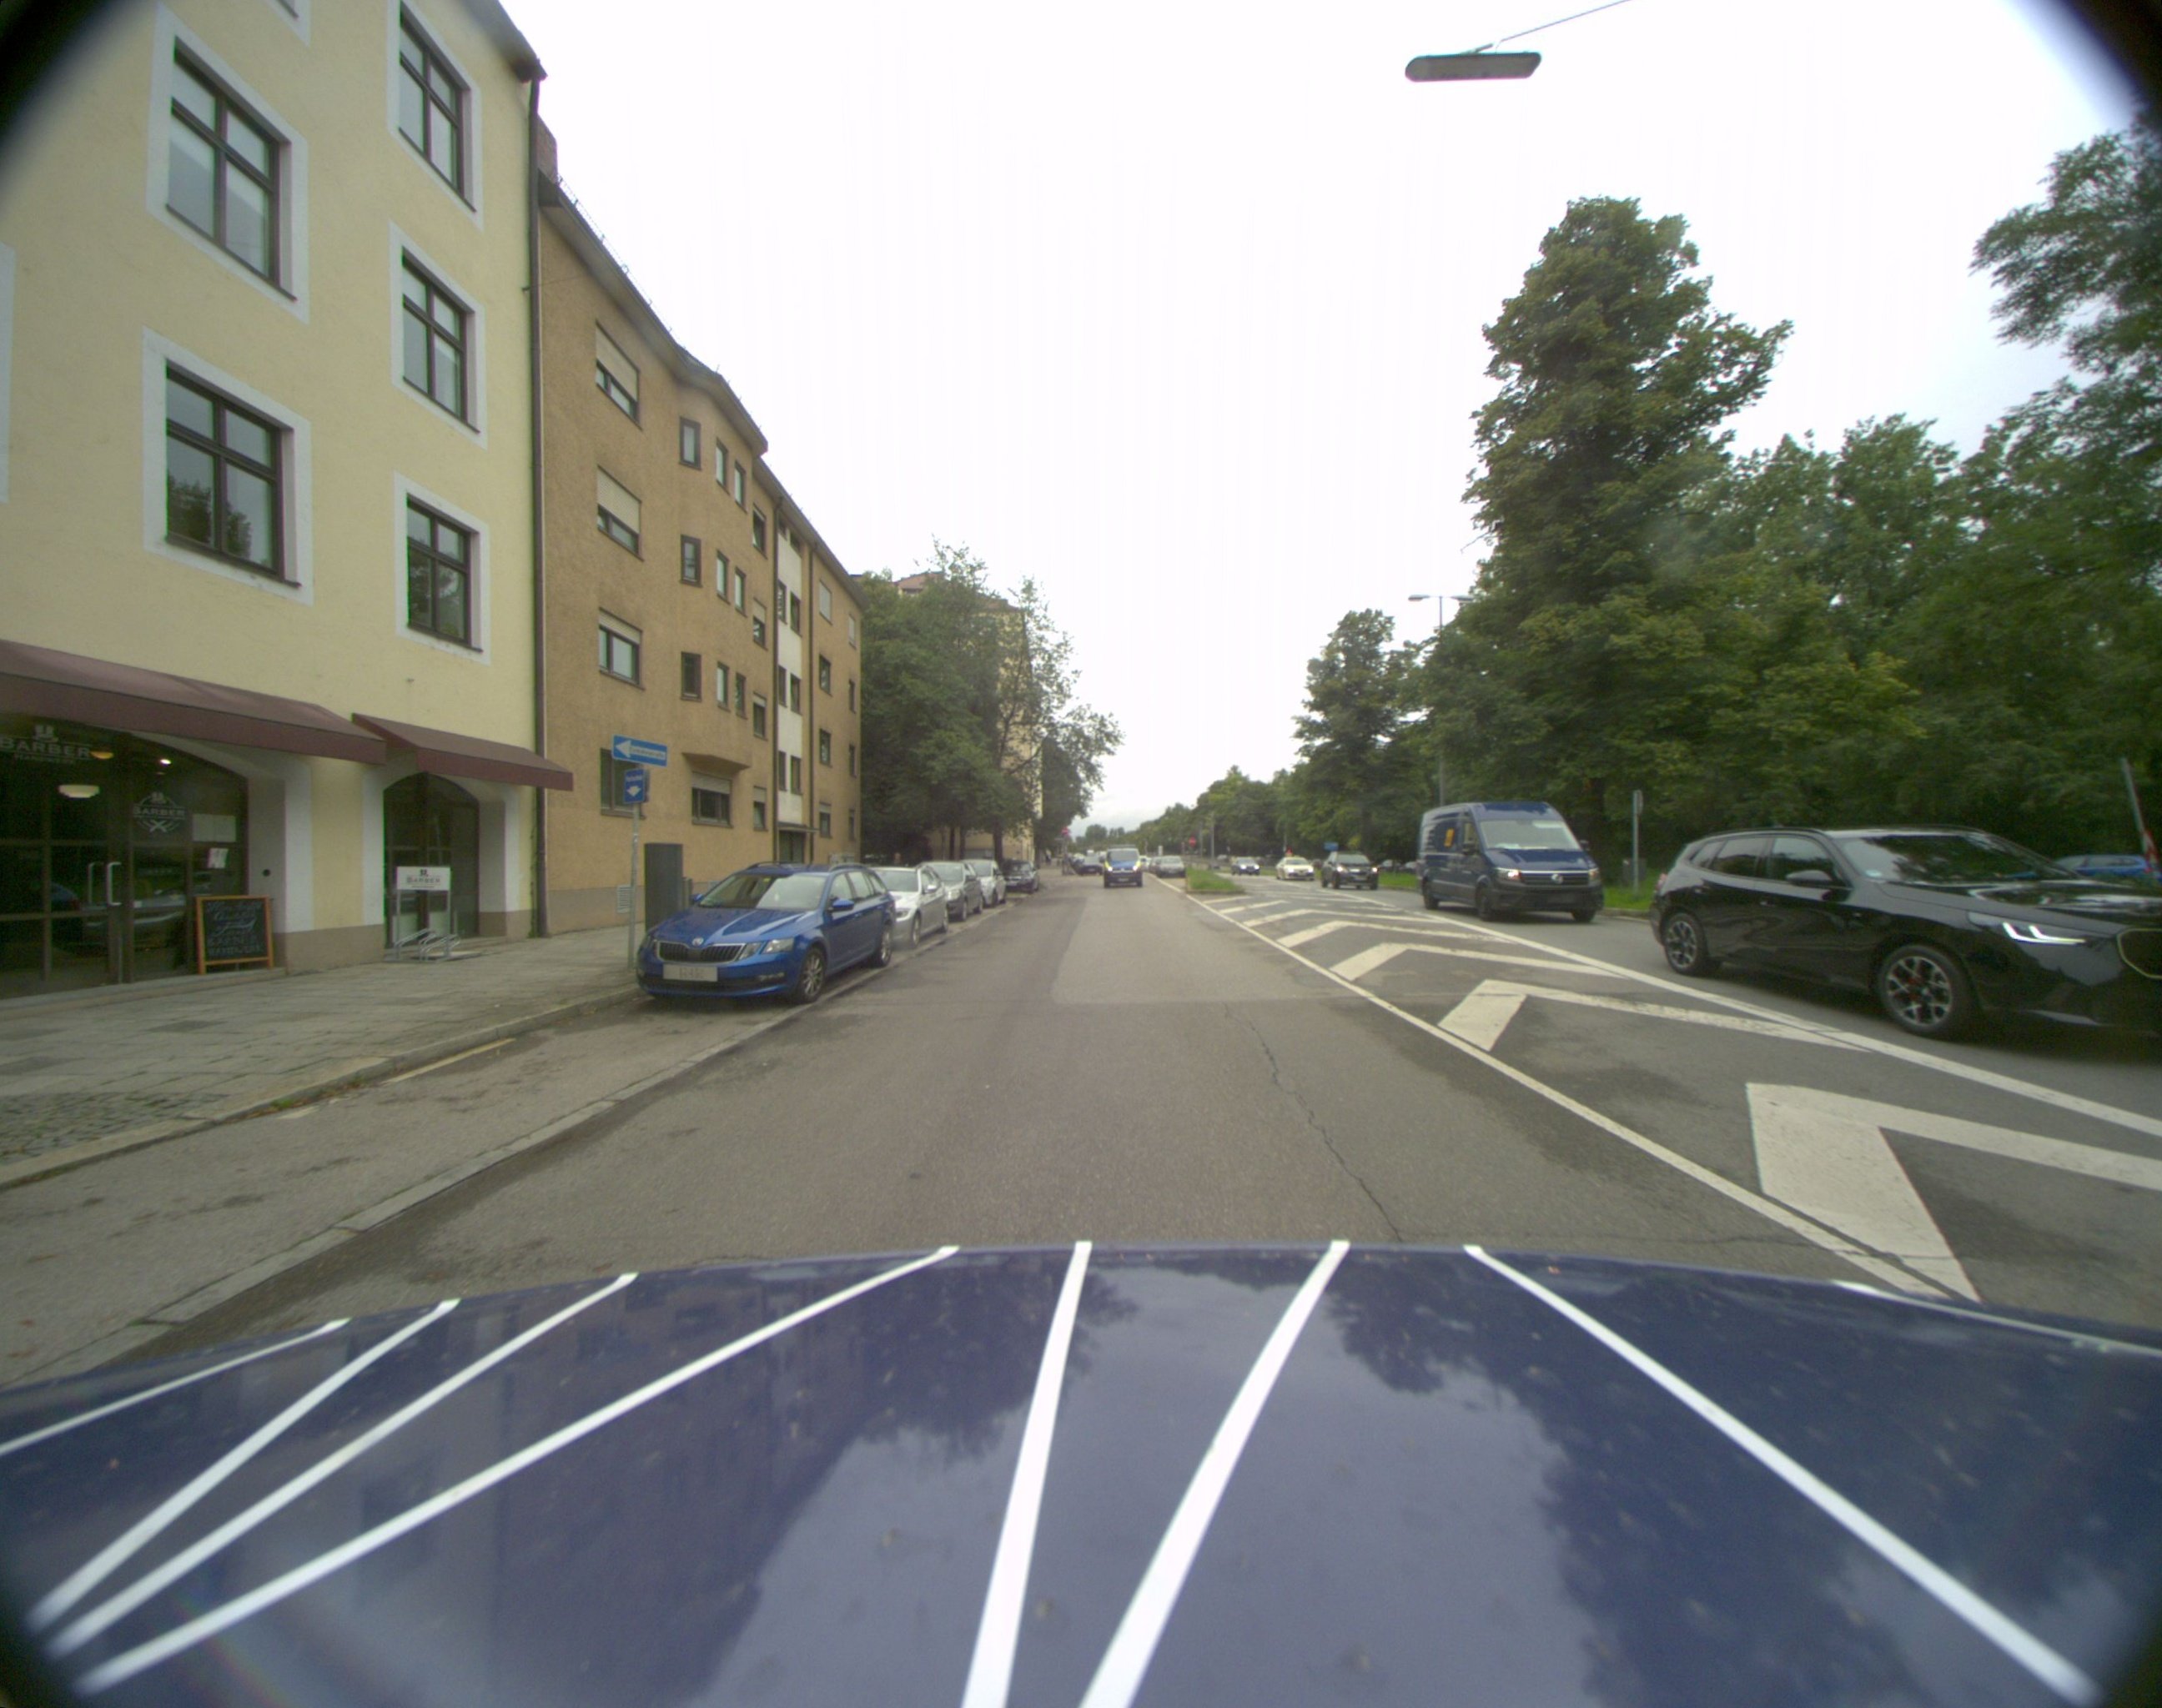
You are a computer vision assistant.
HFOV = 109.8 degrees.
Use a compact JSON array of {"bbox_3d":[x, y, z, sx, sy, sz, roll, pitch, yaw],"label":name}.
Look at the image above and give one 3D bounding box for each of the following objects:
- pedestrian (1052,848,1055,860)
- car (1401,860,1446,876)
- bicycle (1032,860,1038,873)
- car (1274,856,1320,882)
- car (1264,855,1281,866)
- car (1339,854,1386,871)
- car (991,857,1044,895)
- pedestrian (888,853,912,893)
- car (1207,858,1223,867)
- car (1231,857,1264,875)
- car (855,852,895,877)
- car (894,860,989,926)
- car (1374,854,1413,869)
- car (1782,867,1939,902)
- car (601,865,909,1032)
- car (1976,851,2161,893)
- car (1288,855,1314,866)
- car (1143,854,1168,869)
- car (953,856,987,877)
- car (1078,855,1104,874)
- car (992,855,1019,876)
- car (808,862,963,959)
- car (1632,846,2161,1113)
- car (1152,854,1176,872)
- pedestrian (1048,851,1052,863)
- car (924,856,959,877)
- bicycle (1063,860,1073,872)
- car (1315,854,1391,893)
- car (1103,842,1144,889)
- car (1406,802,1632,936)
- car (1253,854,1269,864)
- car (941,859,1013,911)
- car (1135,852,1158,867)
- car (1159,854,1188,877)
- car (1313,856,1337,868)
[{"bbox_3d":[-4.445,0.030,123.246,0.458,2.002,0.617,0,0,-17],"label":"pedestrian"},{"bbox_3d":[32.844,1.302,72.972,1.999,1.438,4.524,1,0,-3],"label":"car"},{"bbox_3d":[-4.261,1.160,71.004,0.401,1.164,1.318,0,0,-10],"label":"bicycle"},{"bbox_3d":[13.591,0.885,48.065,1.991,1.556,4.656,0,0,6],"label":"car"},{"bbox_3d":[31.419,1.015,124.652,1.885,1.736,4.000,0,0,0],"label":"car"},{"bbox_3d":[24.054,0.736,65.075,1.898,1.438,4.385,0,0,-10],"label":"car"},{"bbox_3d":[-2.743,0.903,33.686,1.796,1.488,4.376,3,0,1],"label":"car"},{"bbox_3d":[-7.403,0.764,31.061,0.672,1.614,0.980,0,1,3],"label":"pedestrian"},{"bbox_3d":[22.035,1.406,124.952,1.896,1.438,4.033,0,0,0],"label":"car"},{"bbox_3d":[15.087,1.041,69.209,1.992,1.556,4.272,0,0,-1],"label":"car"},{"bbox_3d":[-15.064,0.729,55.791,1.917,1.741,4.244,0,0,-2],"label":"car"},{"bbox_3d":[-3.480,0.924,19.606,1.632,1.487,3.787,1,0,2],"label":"car"},{"bbox_3d":[32.451,0.785,79.071,1.999,1.438,4.524,1,0,-3],"label":"car"},{"bbox_3d":[36.011,1.373,35.319,2.000,1.438,4.764,1,0,-10],"label":"car"},{"bbox_3d":[-3.616,0.932,9.463,1.761,1.487,4.488,1,0,2],"label":"car"},{"bbox_3d":[37.082,0.625,28.310,2.000,1.438,4.419,1,0,-10],"label":"car"},{"bbox_3d":[28.483,0.877,98.507,1.897,1.438,4.031,0,0,-5],"label":"car"},{"bbox_3d":[7.794,0.763,79.712,1.993,1.447,4.281,0,0,-2],"label":"car"},{"bbox_3d":[-8.140,0.898,55.881,2.054,1.458,4.244,0,0,-3],"label":"car"},{"bbox_3d":[0.894,0.849,65.280,2.129,1.556,4.507,-1,0,1],"label":"car"},{"bbox_3d":[-5.676,0.824,57.646,1.825,1.556,4.244,0,0,-3],"label":"car"},{"bbox_3d":[-3.529,0.944,14.586,1.694,1.487,4.434,1,0,1],"label":"car"},{"bbox_3d":[7.382,0.747,6.838,1.917,1.577,4.833,-1,0,9],"label":"car"},{"bbox_3d":[7.501,0.752,68.607,1.991,1.556,4.284,0,0,4],"label":"car"},{"bbox_3d":[-5.052,0.472,122.495,0.458,2.002,0.617,0,0,-17],"label":"pedestrian"},{"bbox_3d":[-10.209,0.912,55.812,1.917,1.458,4.244,0,0,-3],"label":"car"},{"bbox_3d":[-1.059,1.005,63.366,0.632,1.031,1.736,1,0,6],"label":"bicycle"},{"bbox_3d":[11.832,0.812,33.358,1.992,1.618,4.274,0,0,3],"label":"car"},{"bbox_3d":[2.086,0.507,38.043,1.856,2.198,4.552,0,1,1],"label":"car"},{"bbox_3d":[9.288,0.239,16.898,2.188,2.450,5.853,0,1,6],"label":"car"},{"bbox_3d":[31.210,0.909,131.595,1.866,1.736,4.000,0,0,0],"label":"car"},{"bbox_3d":[-3.239,0.921,24.344,1.632,1.487,3.821,1,0,2],"label":"car"},{"bbox_3d":[7.635,0.620,89.014,2.075,1.692,5.089,0,0,-2],"label":"car"},{"bbox_3d":[6.399,0.777,52.801,1.902,1.556,4.773,0,0,6],"label":"car"},{"bbox_3d":[32.638,1.046,101.731,1.911,1.549,3.999,0,1,-1],"label":"car"}]
